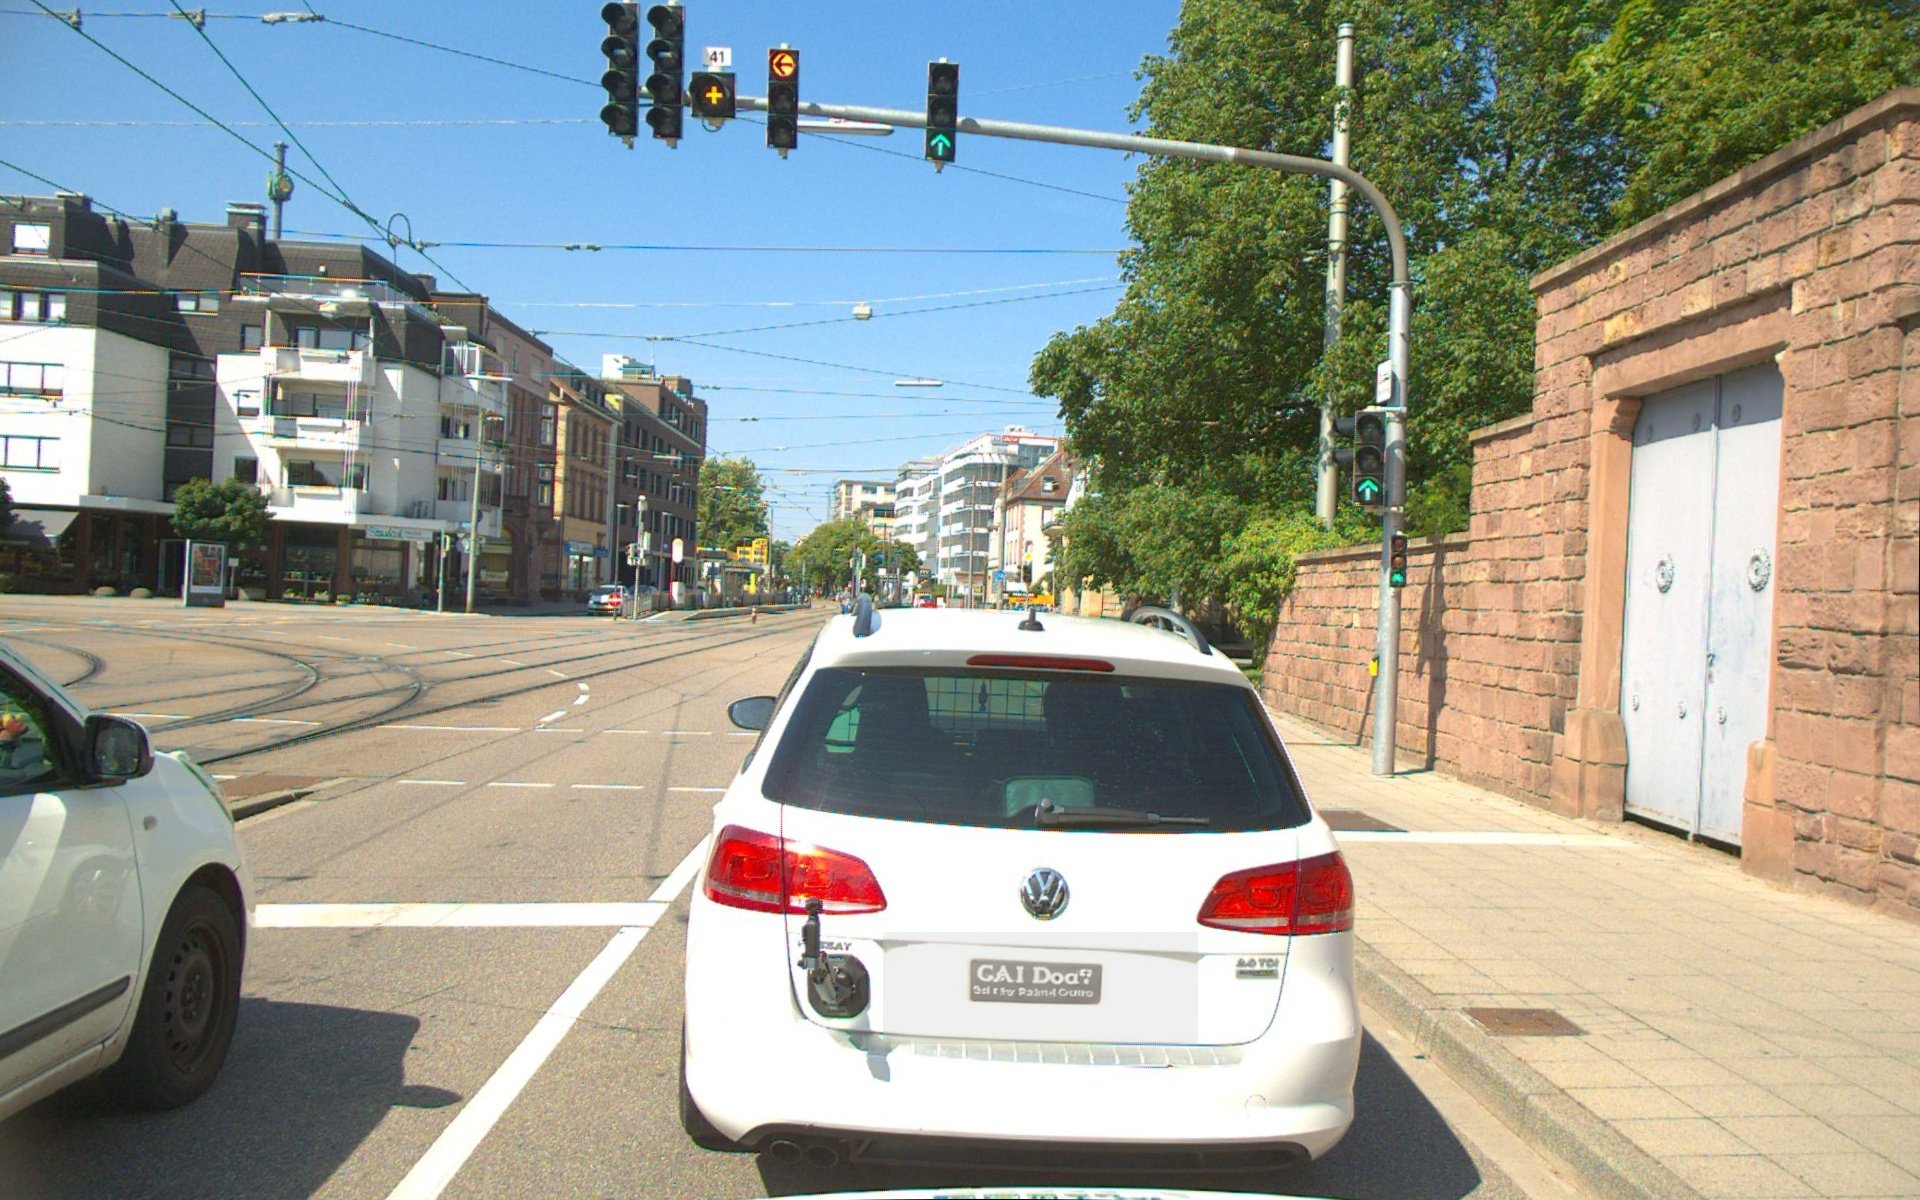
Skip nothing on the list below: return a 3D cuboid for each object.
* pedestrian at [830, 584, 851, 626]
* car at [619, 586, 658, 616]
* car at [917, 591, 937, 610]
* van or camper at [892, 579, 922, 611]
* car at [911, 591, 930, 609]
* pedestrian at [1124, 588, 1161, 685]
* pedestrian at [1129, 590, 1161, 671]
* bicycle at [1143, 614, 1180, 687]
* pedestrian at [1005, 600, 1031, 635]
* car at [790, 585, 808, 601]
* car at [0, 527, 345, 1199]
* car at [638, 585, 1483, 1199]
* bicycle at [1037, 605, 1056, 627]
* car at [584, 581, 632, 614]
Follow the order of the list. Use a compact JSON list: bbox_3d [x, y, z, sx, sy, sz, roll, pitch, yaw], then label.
[{"bbox_3d":[-5.358,0.230,73.958,0.810,1.841,0.833,2,0,-1],"label":"pedestrian"},{"bbox_3d":[-17.054,0.036,87.855,1.542,1.484,3.811,2,0,-4],"label":"car"},{"bbox_3d":[-3.813,0.074,192.350,1.955,2.049,3.995,2,0,-6],"label":"car"},{"bbox_3d":[-5.673,-0.570,176.931,2.886,3.235,6.608,2,0,-4],"label":"van or camper"},{"bbox_3d":[-4.692,0.044,197.741,1.955,2.049,3.995,2,0,-6],"label":"car"},{"bbox_3d":[3.012,0.593,27.297,0.529,1.576,0.663,0,0,-2],"label":"pedestrian"},{"bbox_3d":[4.000,0.649,35.798,0.636,1.711,0.708,2,0,6],"label":"pedestrian"},{"bbox_3d":[3.317,0.814,27.174,0.524,1.131,1.808,1,-1,8],"label":"bicycle"},{"bbox_3d":[2.580,0.786,73.802,0.843,1.536,0.777,2,0,40],"label":"pedestrian"},{"bbox_3d":[-20.617,-0.859,211.901,1.954,2.049,3.998,1,0,-3],"label":"car"},{"bbox_3d":[-2.893,0.624,3.440,1.730,1.588,4.066,1,0,-1],"label":"car"},{"bbox_3d":[0.187,0.720,5.370,1.717,1.442,3.852,2,0,-1],"label":"car"},{"bbox_3d":[4.728,0.877,90.294,0.710,1.159,2.196,2,0,11],"label":"bicycle"},{"bbox_3d":[-17.020,-0.107,80.102,1.593,1.456,3.961,4,0,-3],"label":"car"}]
